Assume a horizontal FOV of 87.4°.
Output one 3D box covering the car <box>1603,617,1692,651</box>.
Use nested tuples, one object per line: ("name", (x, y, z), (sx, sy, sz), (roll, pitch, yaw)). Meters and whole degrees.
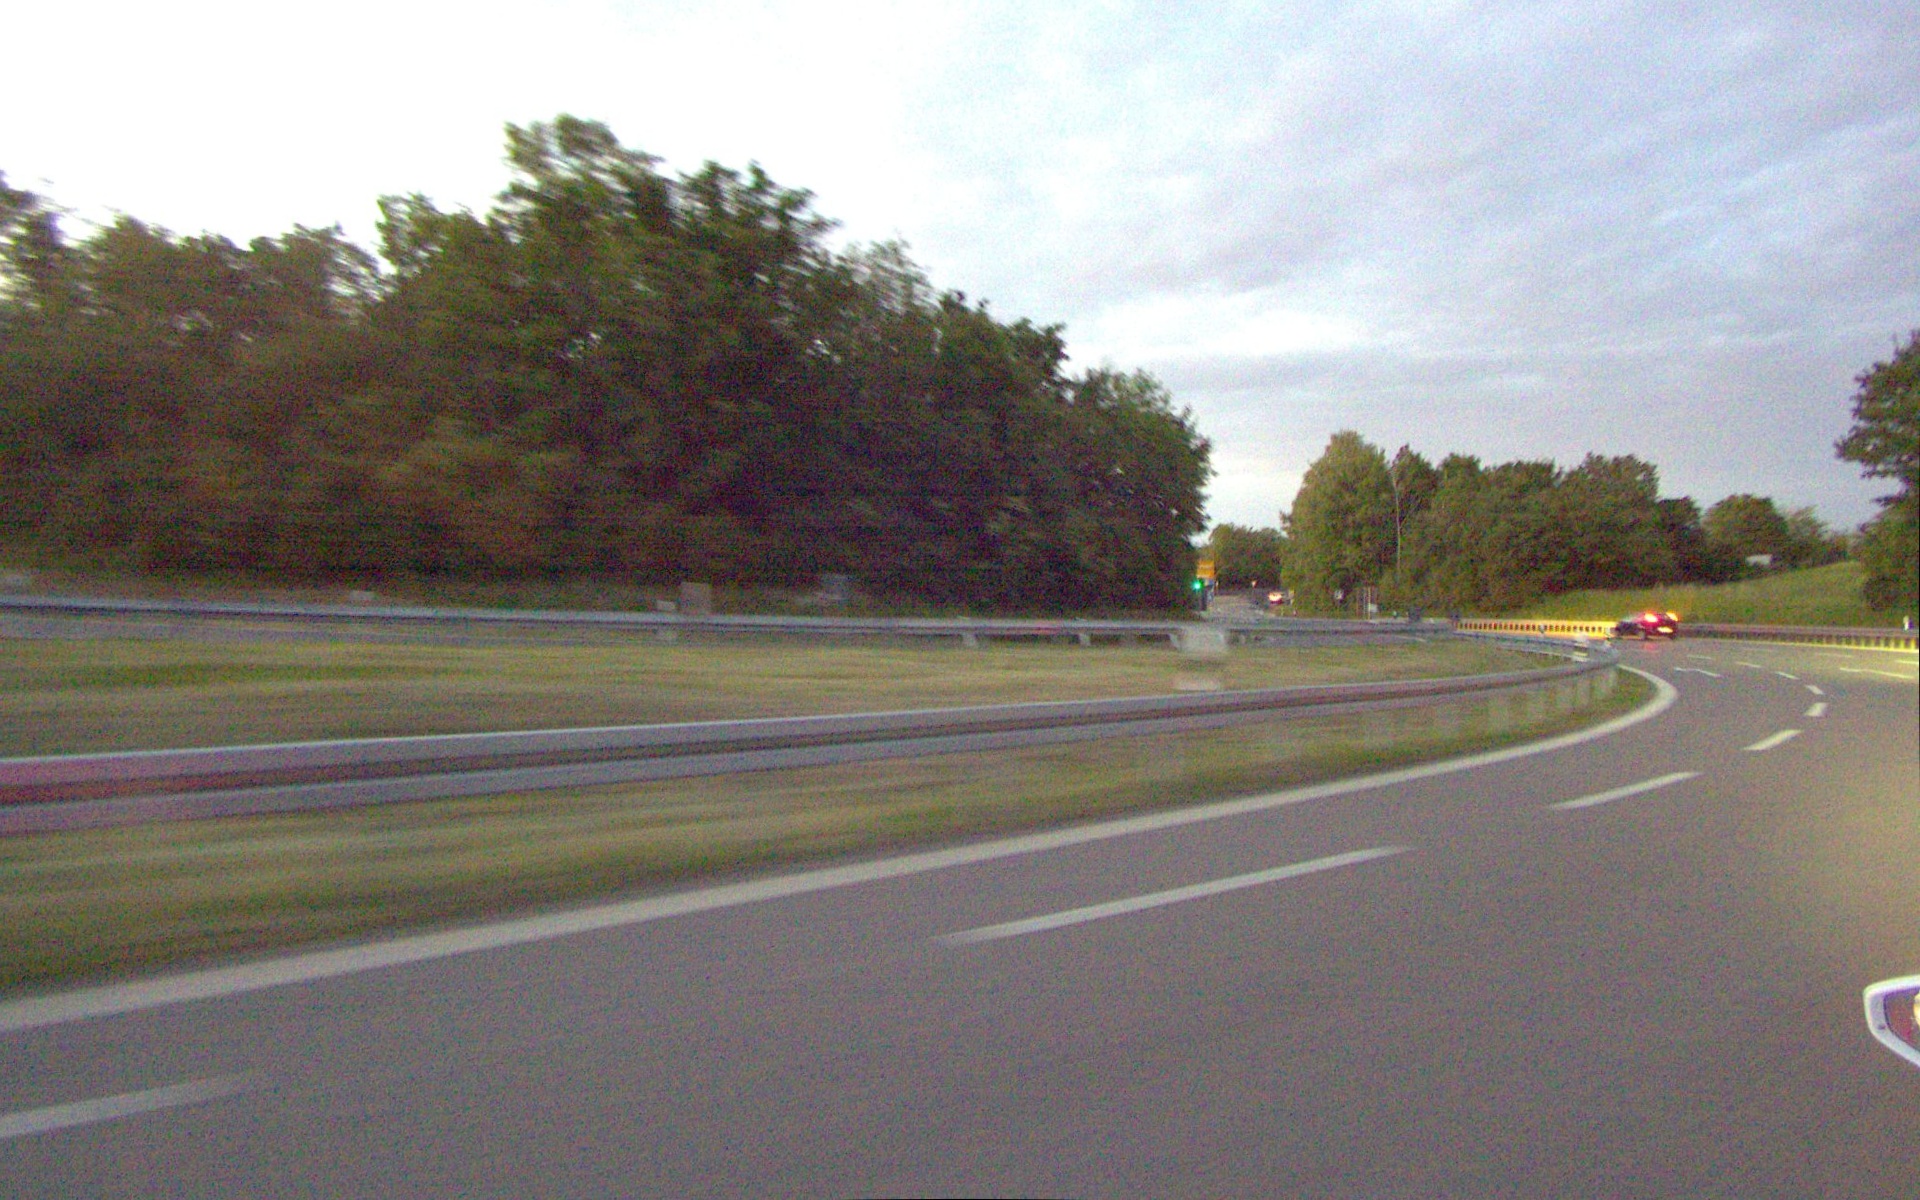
("car", (36.670, 1.779, 53.682), (1.961, 1.620, 4.000), (2, 1, 0))
